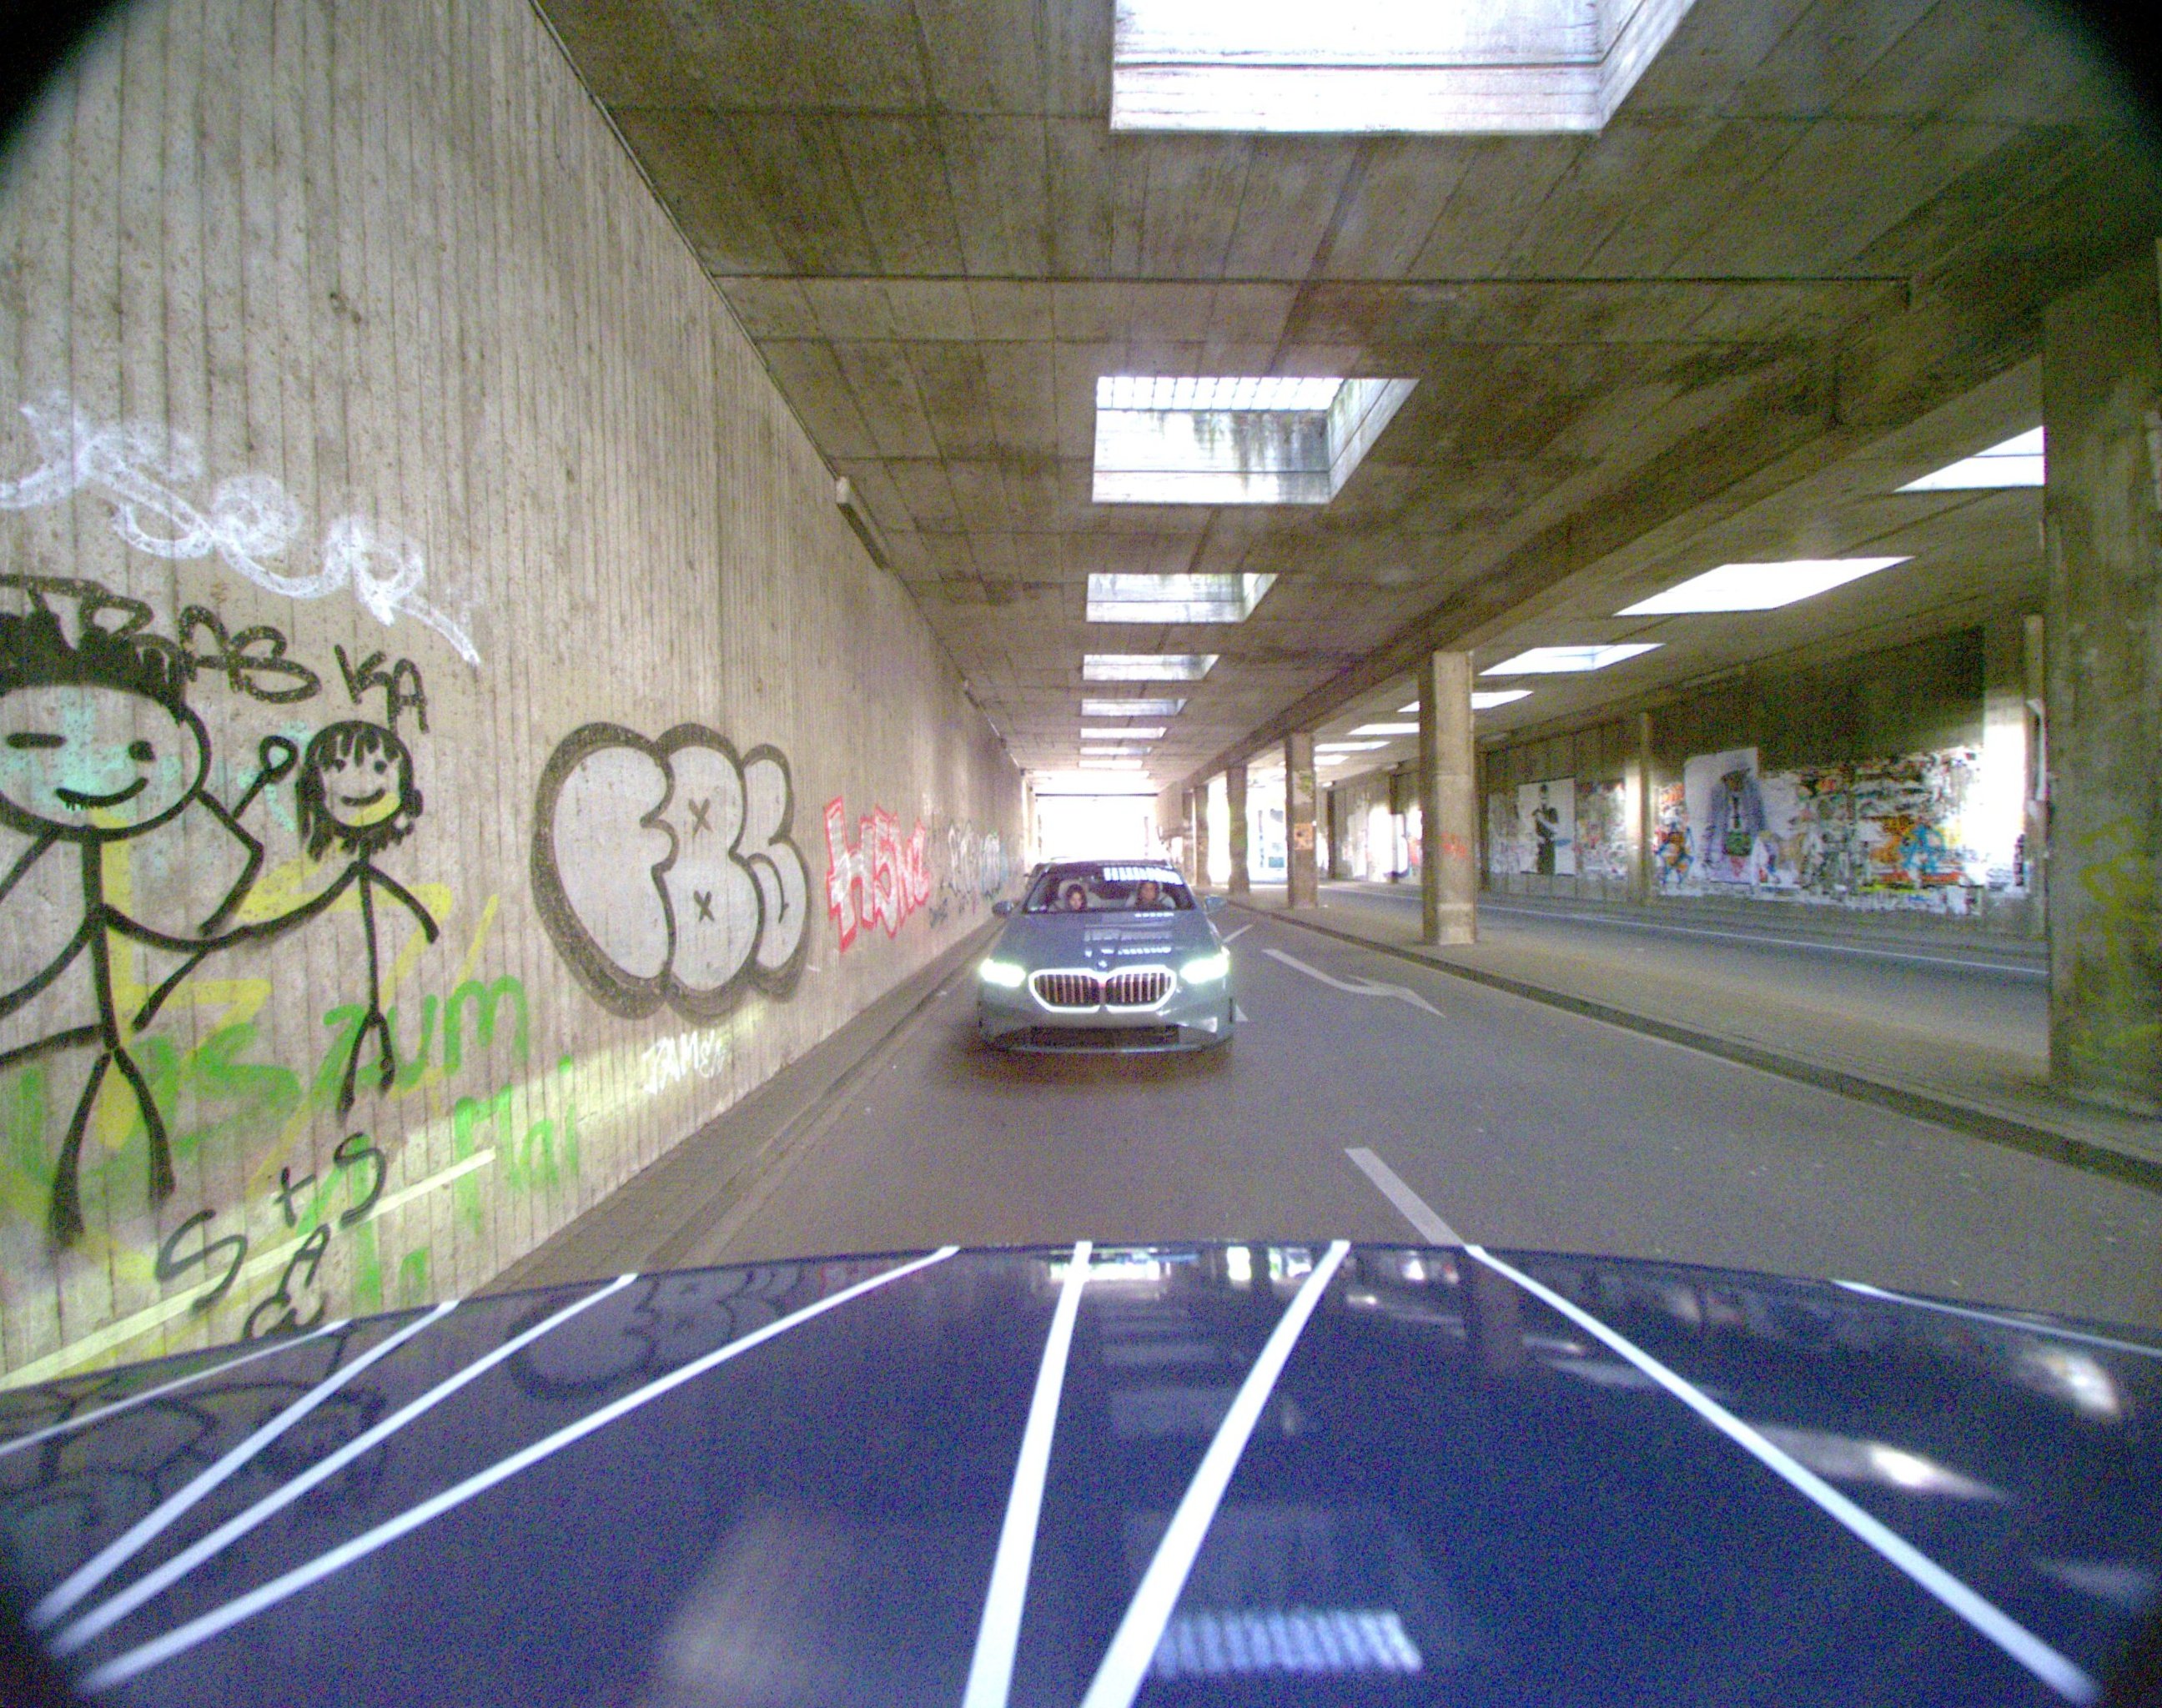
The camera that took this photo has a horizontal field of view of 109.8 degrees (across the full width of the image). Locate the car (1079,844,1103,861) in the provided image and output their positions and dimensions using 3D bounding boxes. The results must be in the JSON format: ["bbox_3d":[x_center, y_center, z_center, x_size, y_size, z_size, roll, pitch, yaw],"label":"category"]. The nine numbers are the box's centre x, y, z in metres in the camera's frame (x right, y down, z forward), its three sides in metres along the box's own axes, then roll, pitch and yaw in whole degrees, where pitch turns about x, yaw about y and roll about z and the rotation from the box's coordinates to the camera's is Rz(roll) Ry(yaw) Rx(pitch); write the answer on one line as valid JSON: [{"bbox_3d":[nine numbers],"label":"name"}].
[{"bbox_3d":[1.301,-0.189,103.702,2.161,2.150,4.785,-2,0,-12],"label":"car"}]

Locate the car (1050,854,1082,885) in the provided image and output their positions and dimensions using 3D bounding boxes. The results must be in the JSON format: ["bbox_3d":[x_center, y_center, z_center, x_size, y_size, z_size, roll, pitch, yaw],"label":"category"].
[{"bbox_3d":[-0.792,0.808,41.290,1.592,1.562,3.694,-2,0,0],"label":"car"}]

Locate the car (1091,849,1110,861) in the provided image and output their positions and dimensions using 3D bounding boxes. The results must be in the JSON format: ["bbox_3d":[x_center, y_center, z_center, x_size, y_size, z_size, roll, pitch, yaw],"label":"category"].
[{"bbox_3d":[2.498,0.140,98.010,1.741,1.519,3.786,-2,0,-9],"label":"car"}]

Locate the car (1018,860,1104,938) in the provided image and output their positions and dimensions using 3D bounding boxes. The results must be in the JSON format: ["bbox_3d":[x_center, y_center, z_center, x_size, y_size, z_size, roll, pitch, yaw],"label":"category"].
[{"bbox_3d":[-0.413,0.923,17.330,1.679,1.516,3.969,-2,0,0],"label":"car"}]

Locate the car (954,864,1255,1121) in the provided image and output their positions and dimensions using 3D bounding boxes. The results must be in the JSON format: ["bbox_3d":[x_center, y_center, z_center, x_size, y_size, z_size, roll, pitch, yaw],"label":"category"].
[{"bbox_3d":[0.139,0.908,7.321,1.861,1.516,5.042,-2,0,0],"label":"car"}]

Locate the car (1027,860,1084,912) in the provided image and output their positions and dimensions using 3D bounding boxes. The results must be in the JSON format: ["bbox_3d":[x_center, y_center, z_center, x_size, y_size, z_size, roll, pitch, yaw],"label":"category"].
[{"bbox_3d":[-0.749,0.951,23.956,1.592,1.432,3.806,-2,0,0],"label":"car"}]

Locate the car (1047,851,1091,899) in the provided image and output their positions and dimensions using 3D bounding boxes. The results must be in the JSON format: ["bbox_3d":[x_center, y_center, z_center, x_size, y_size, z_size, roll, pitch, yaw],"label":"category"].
[{"bbox_3d":[-0.449,0.773,29.963,1.592,1.711,3.694,-2,0,0],"label":"car"}]
